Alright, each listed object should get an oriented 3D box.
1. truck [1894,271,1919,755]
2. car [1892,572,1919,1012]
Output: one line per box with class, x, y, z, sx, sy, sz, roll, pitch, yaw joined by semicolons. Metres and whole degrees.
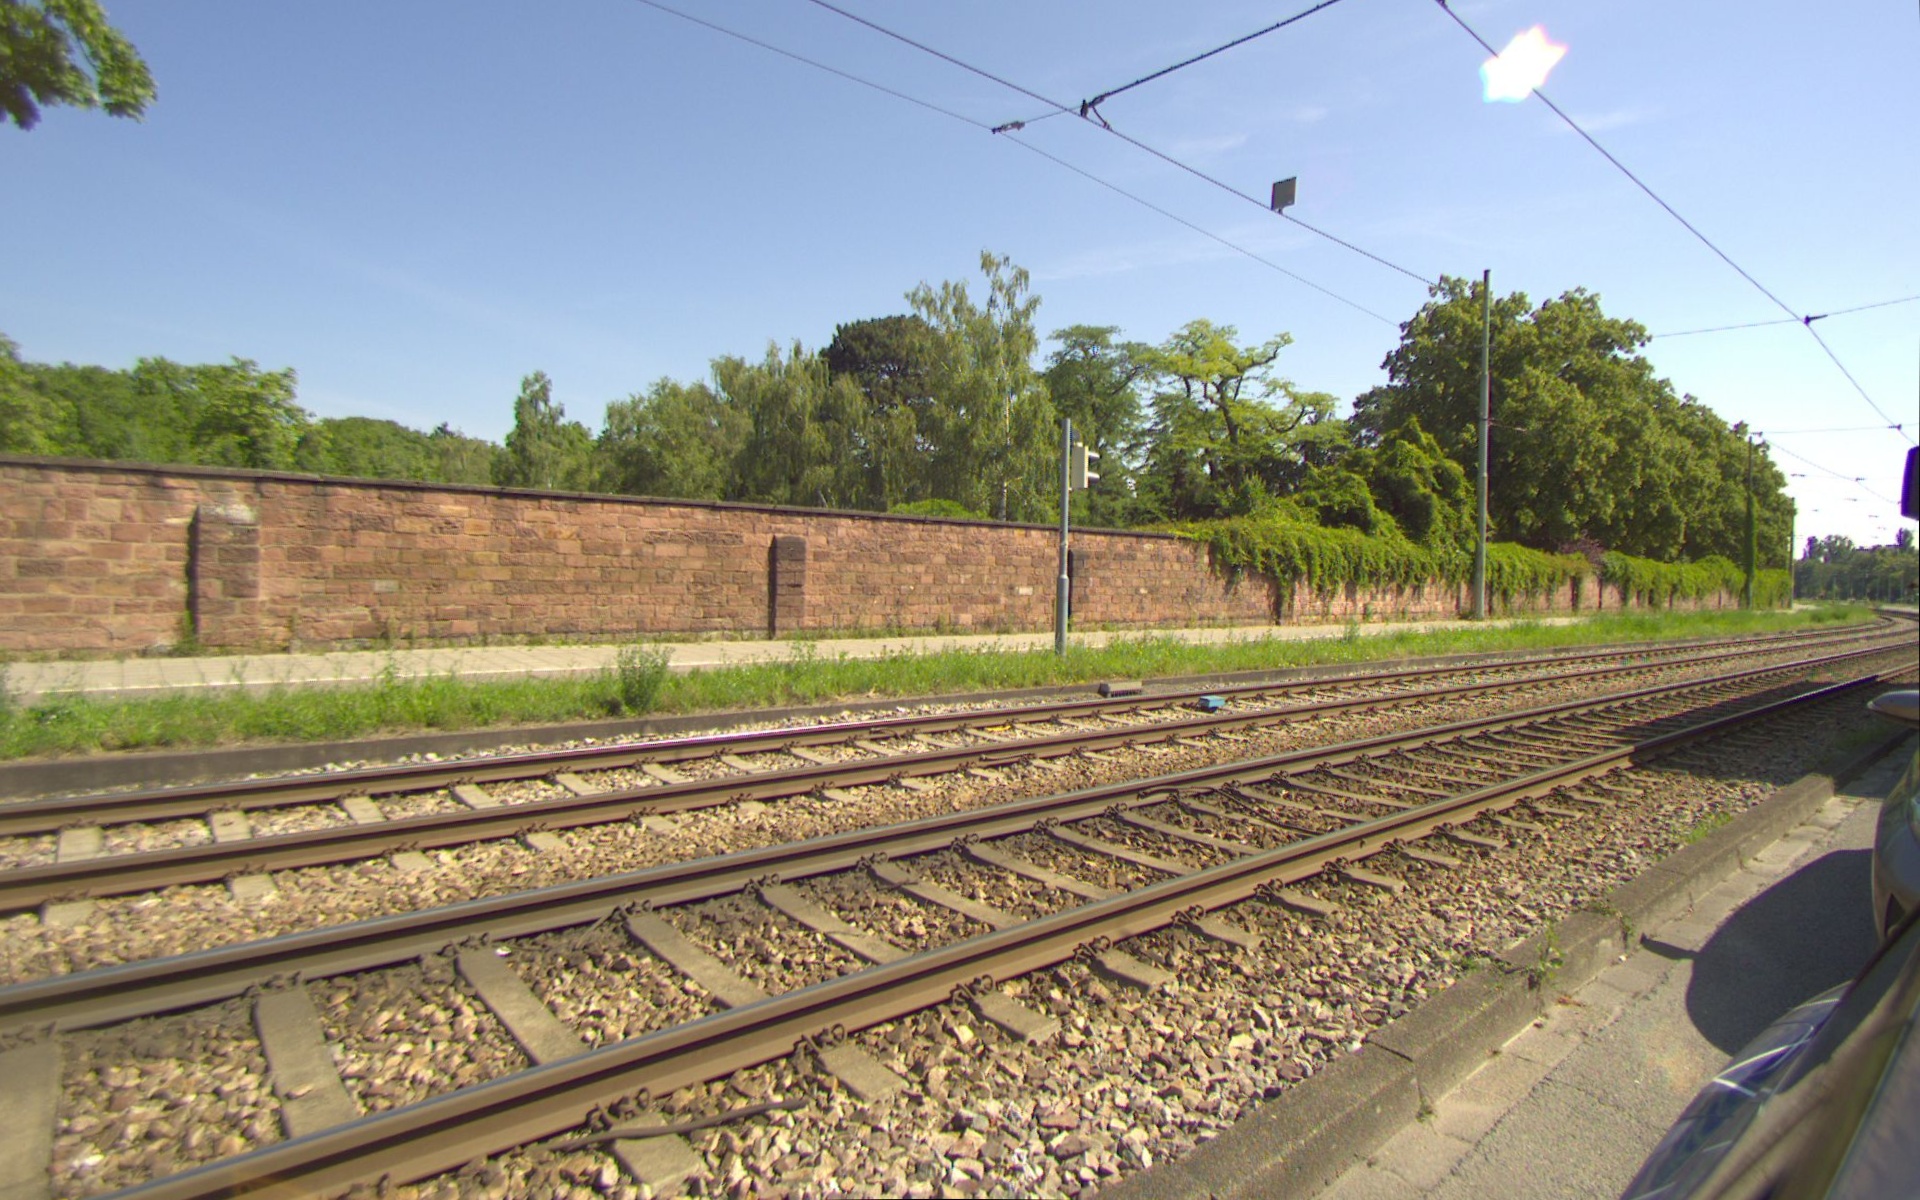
truck;14.206;-0.657;11.969;14.652;3.927;2.934;0;2;-41
car;5.127;0.664;4.060;3.930;1.448;1.573;0;2;-41
